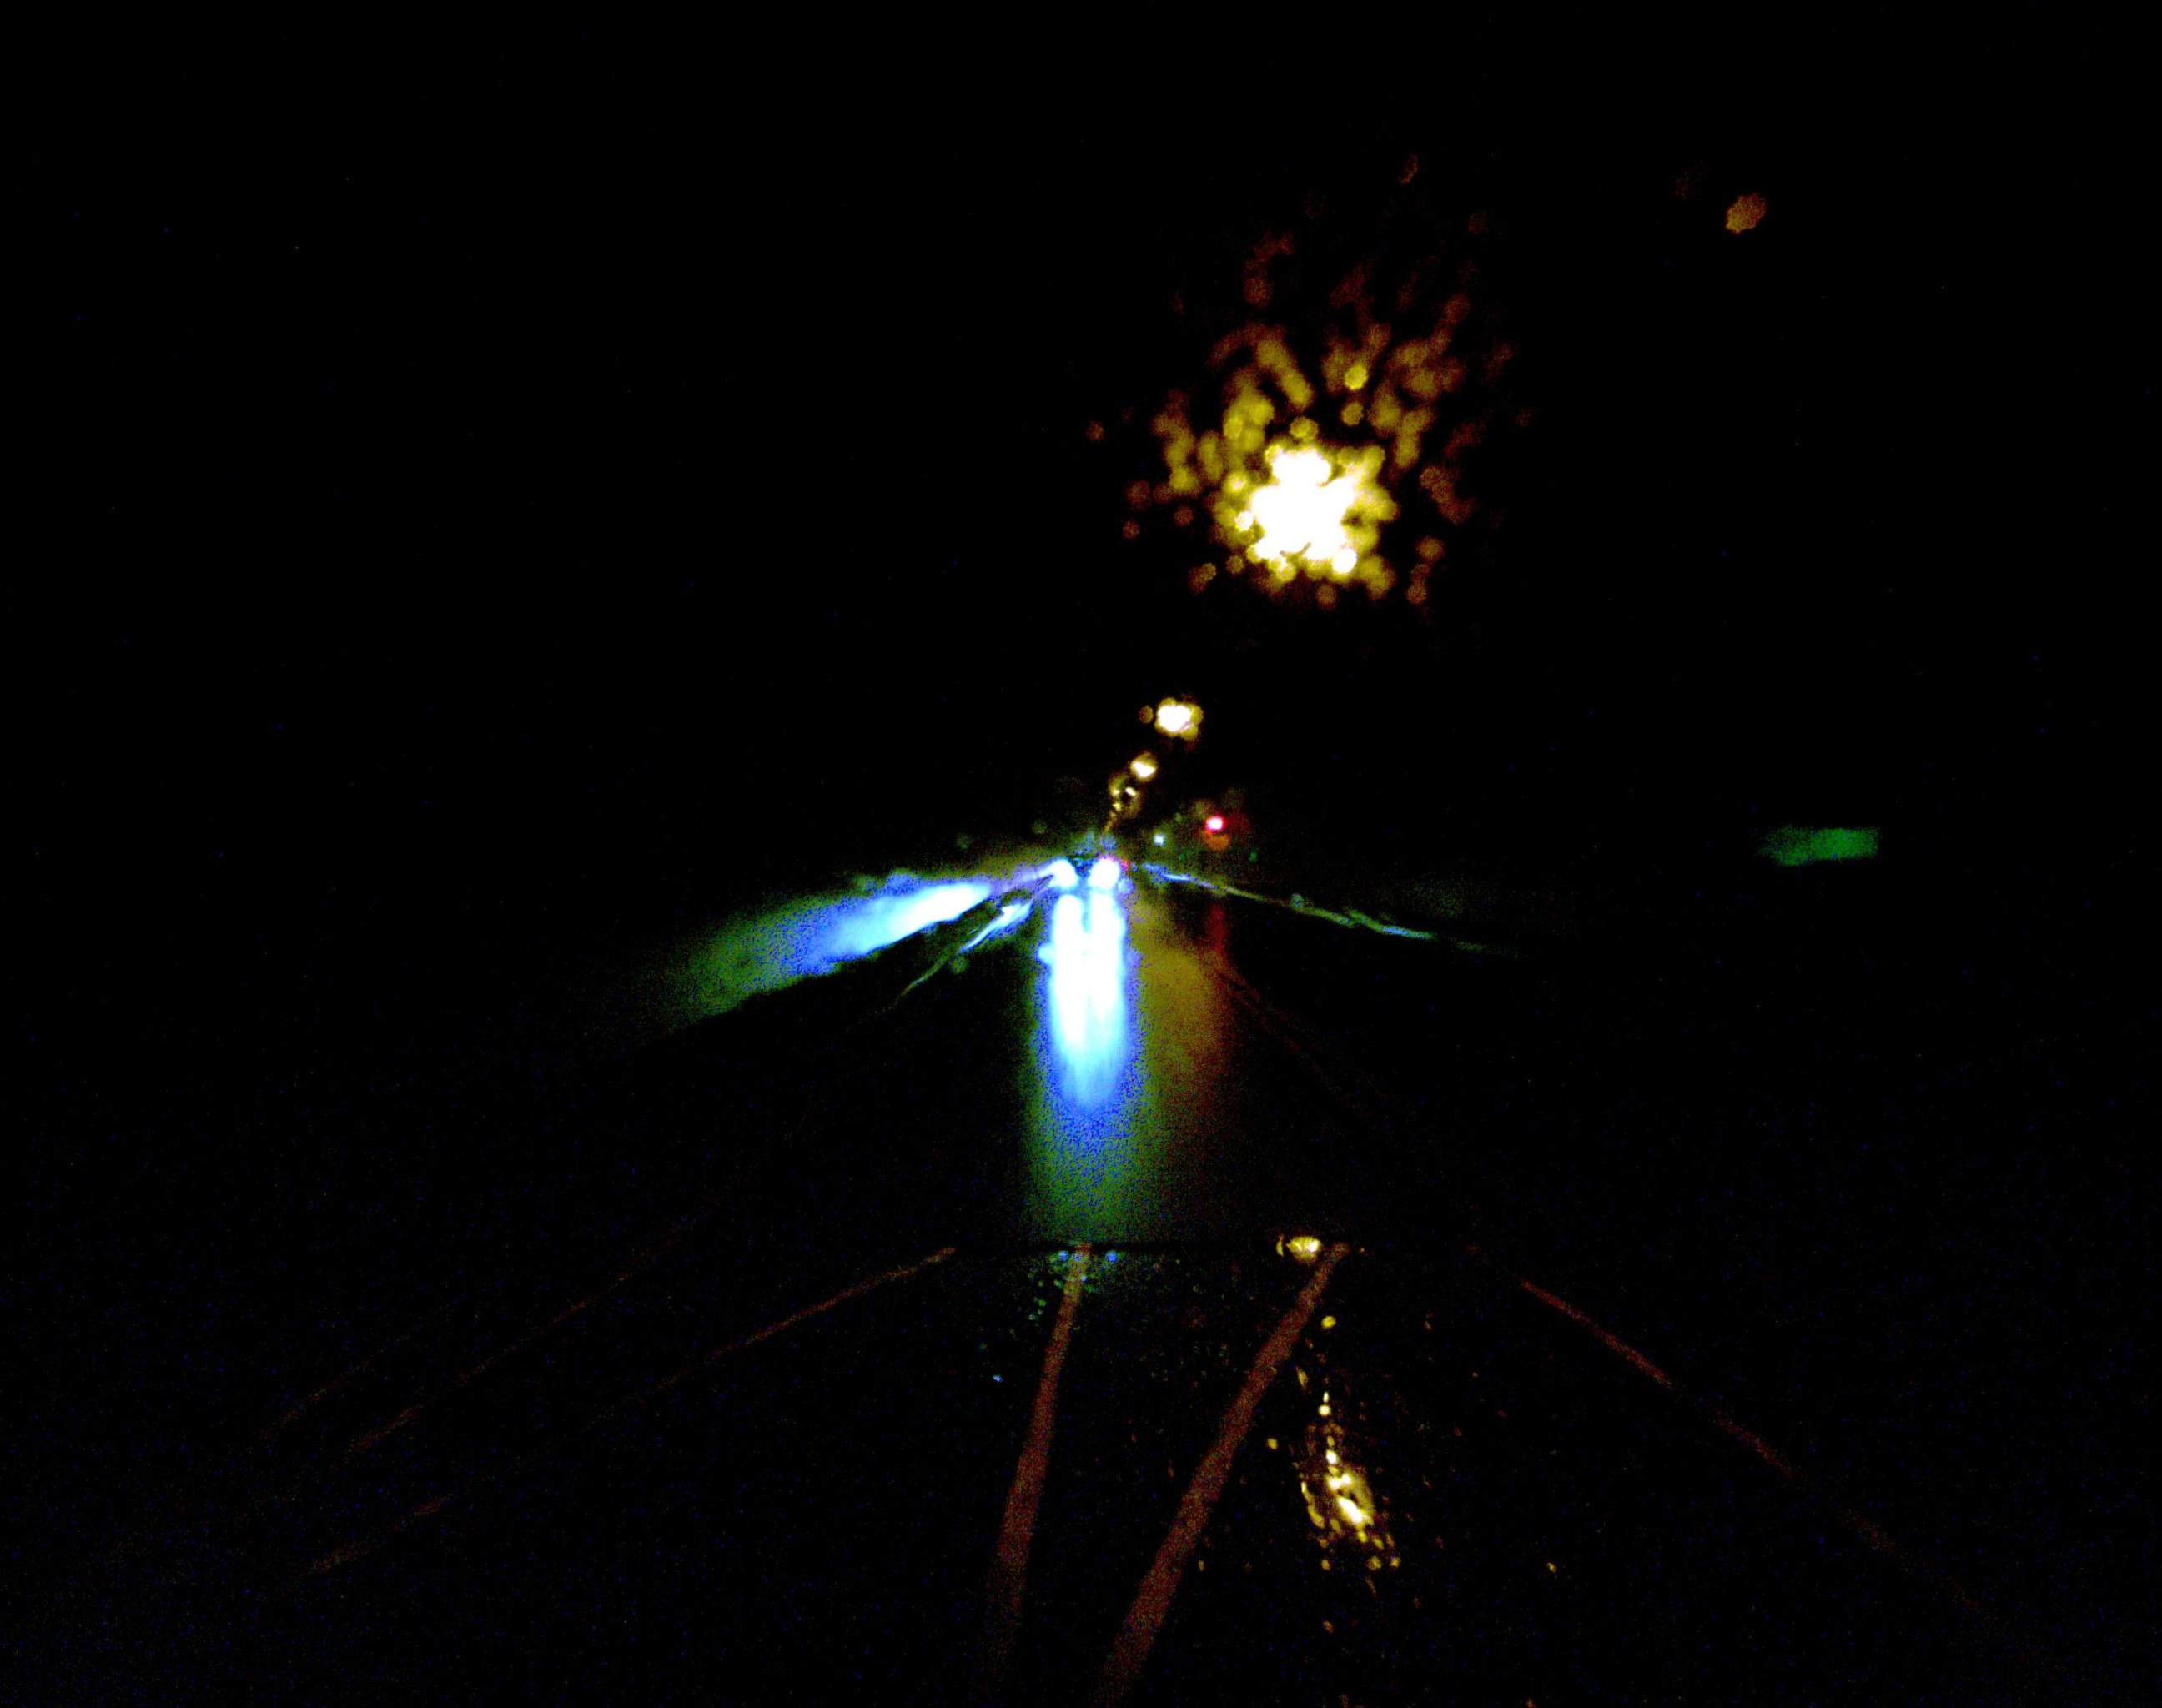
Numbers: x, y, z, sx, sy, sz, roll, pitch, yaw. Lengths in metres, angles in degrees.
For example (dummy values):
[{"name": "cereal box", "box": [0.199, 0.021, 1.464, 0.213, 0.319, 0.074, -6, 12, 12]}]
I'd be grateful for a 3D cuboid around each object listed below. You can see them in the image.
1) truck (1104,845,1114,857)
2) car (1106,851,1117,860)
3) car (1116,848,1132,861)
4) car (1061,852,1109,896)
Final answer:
[{"name": "truck", "box": [7.130, -0.770, 194.766, 2.285, 2.999, 6.593, -3, 0, 0]}, {"name": "car", "box": [5.510, 0.278, 138.878, 1.799, 1.474, 3.868, -3, 0, 0]}, {"name": "car", "box": [5.354, 0.069, 94.798, 1.761, 1.519, 3.814, -4, 0, 1]}, {"name": "car", "box": [0.200, 0.779, 31.499, 1.829, 1.650, 3.929, -2, 0, 1]}]
